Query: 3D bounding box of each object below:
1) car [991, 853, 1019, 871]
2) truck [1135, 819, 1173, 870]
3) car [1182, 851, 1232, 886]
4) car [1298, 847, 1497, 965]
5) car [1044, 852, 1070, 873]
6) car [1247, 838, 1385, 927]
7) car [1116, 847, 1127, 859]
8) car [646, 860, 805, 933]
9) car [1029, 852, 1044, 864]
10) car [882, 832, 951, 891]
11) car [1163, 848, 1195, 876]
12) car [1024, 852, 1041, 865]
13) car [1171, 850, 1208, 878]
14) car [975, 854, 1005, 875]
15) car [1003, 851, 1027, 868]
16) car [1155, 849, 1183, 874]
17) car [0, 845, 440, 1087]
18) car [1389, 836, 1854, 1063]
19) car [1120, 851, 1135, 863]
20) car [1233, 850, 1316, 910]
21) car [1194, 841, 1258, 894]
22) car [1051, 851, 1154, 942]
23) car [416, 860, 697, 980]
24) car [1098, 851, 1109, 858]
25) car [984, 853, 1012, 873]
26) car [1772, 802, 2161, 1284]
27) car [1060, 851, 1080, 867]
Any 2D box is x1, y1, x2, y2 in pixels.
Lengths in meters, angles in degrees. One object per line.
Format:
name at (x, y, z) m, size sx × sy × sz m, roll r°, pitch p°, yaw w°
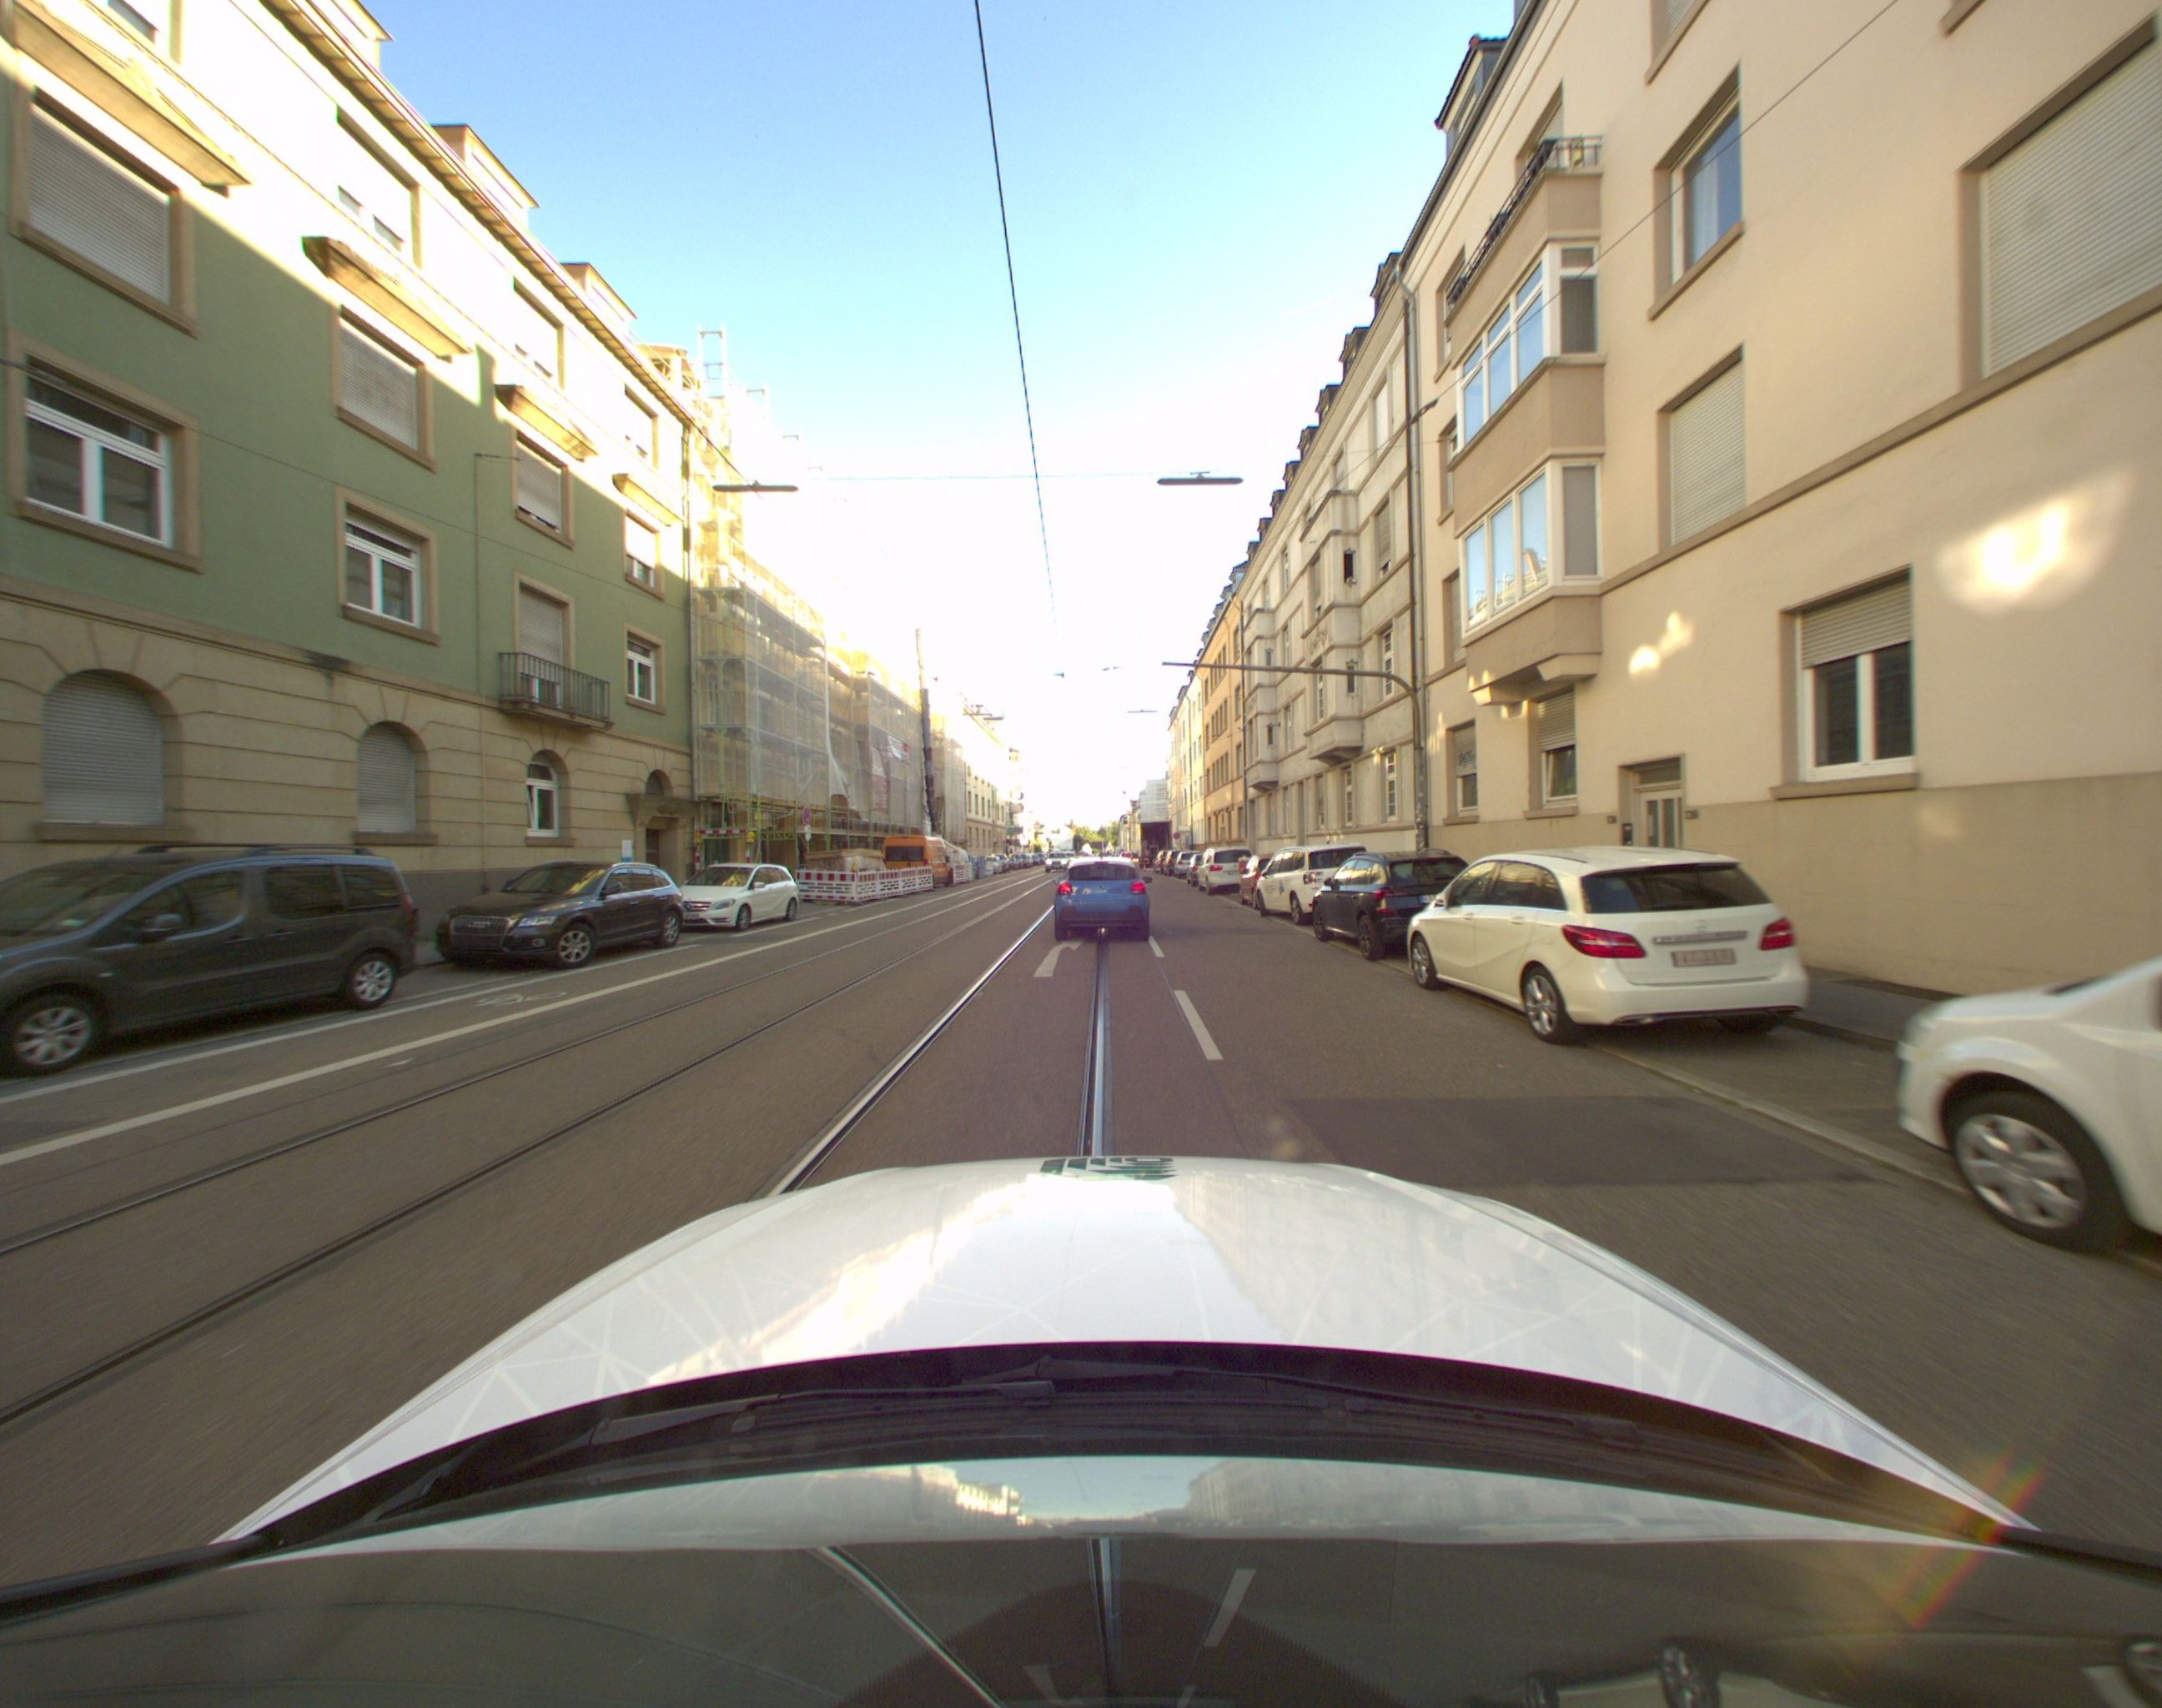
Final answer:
car at (-7.247, 0.733, 78.069) m, size 2.137 × 1.621 × 4.001 m, roll -2°, pitch 0°, yaw 1°
truck at (6.431, -0.807, 73.067) m, size 2.841 × 4.083 × 11.280 m, roll -1°, pitch 0°, yaw 3°
car at (5.650, 0.616, 36.970) m, size 1.716 × 1.486 × 4.224 m, roll -1°, pitch 0°, yaw 2°
car at (4.870, 0.701, 13.210) m, size 1.648 × 1.566 × 4.340 m, roll -1°, pitch 0°, yaw 2°
car at (-1.951, 0.646, 66.819) m, size 1.819 × 1.631 × 4.493 m, roll -1°, pitch 0°, yaw 2°
car at (5.198, 0.563, 18.707) m, size 1.651 × 1.752 × 4.599 m, roll -1°, pitch 0°, yaw -2°
car at (8.223, -0.251, 165.155) m, size 2.211 × 2.284 × 4.086 m, roll -1°, pitch 0°, yaw 2°
car at (-8.464, 0.935, 19.868) m, size 1.711 × 1.502 × 4.391 m, roll 1°, pitch 0°, yaw 3°
car at (-5.967, 0.523, 109.730) m, size 1.820 × 1.631 × 3.904 m, roll -1°, pitch 0°, yaw -1°
car at (-7.491, 0.293, 37.641) m, size 2.138 × 2.475 × 4.979 m, roll -2°, pitch 0°, yaw 0°
car at (6.136, 0.498, 51.336) m, size 1.657 × 1.647 × 4.224 m, roll -1°, pitch 0°, yaw 2°
car at (-6.155, 0.567, 103.909) m, size 1.819 × 1.631 × 3.906 m, roll -1°, pitch 0°, yaw 1°
car at (6.149, 0.535, 46.488) m, size 1.657 × 1.519 × 4.224 m, roll -1°, pitch 0°, yaw 2°
car at (-7.260, 0.810, 65.297) m, size 1.707 × 1.518 × 4.049 m, roll -1°, pitch 0°, yaw 2°
car at (-6.774, 0.517, 83.837) m, size 1.819 × 1.631 × 4.851 m, roll -1°, pitch 0°, yaw 2°
car at (6.132, 0.519, 57.360) m, size 1.657 × 1.633 × 3.873 m, roll -1°, pitch 0°, yaw 2°
car at (-8.970, 0.836, 7.881) m, size 1.776 × 1.816 × 4.531 m, roll 1°, pitch 0°, yaw 3°
car at (4.659, 0.673, 7.957) m, size 1.777 × 1.576 × 4.328 m, roll -1°, pitch 0°, yaw 2°
car at (6.075, 0.325, 106.442) m, size 1.758 × 1.486 × 4.033 m, roll -1°, pitch 0°, yaw 2°
car at (5.450, 0.682, 23.348) m, size 1.608 × 1.560 × 3.602 m, roll -1°, pitch 0°, yaw 2°
car at (5.466, 0.476, 31.171) m, size 1.724 × 1.827 × 4.689 m, roll -1°, pitch 0°, yaw 2°
car at (0.443, 0.714, 15.798) m, size 1.728 × 1.507 × 3.994 m, roll 1°, pitch 0°, yaw 2°
car at (-8.537, 0.959, 13.879) m, size 1.777 × 1.627 × 4.608 m, roll 1°, pitch 0°, yaw 0°
car at (4.402, 0.085, 160.637) m, size 2.172 × 1.486 × 4.162 m, roll -1°, pitch 0°, yaw 2°
car at (-7.067, 0.749, 69.800) m, size 1.707 × 1.594 × 4.269 m, roll -1°, pitch 0°, yaw 2°
car at (4.515, 0.622, 2.324) m, size 1.777 × 1.632 × 4.002 m, roll -1°, pitch 0°, yaw 2°
car at (-1.167, 0.515, 87.416) m, size 1.894 × 1.631 × 4.269 m, roll -1°, pitch 0°, yaw 2°
